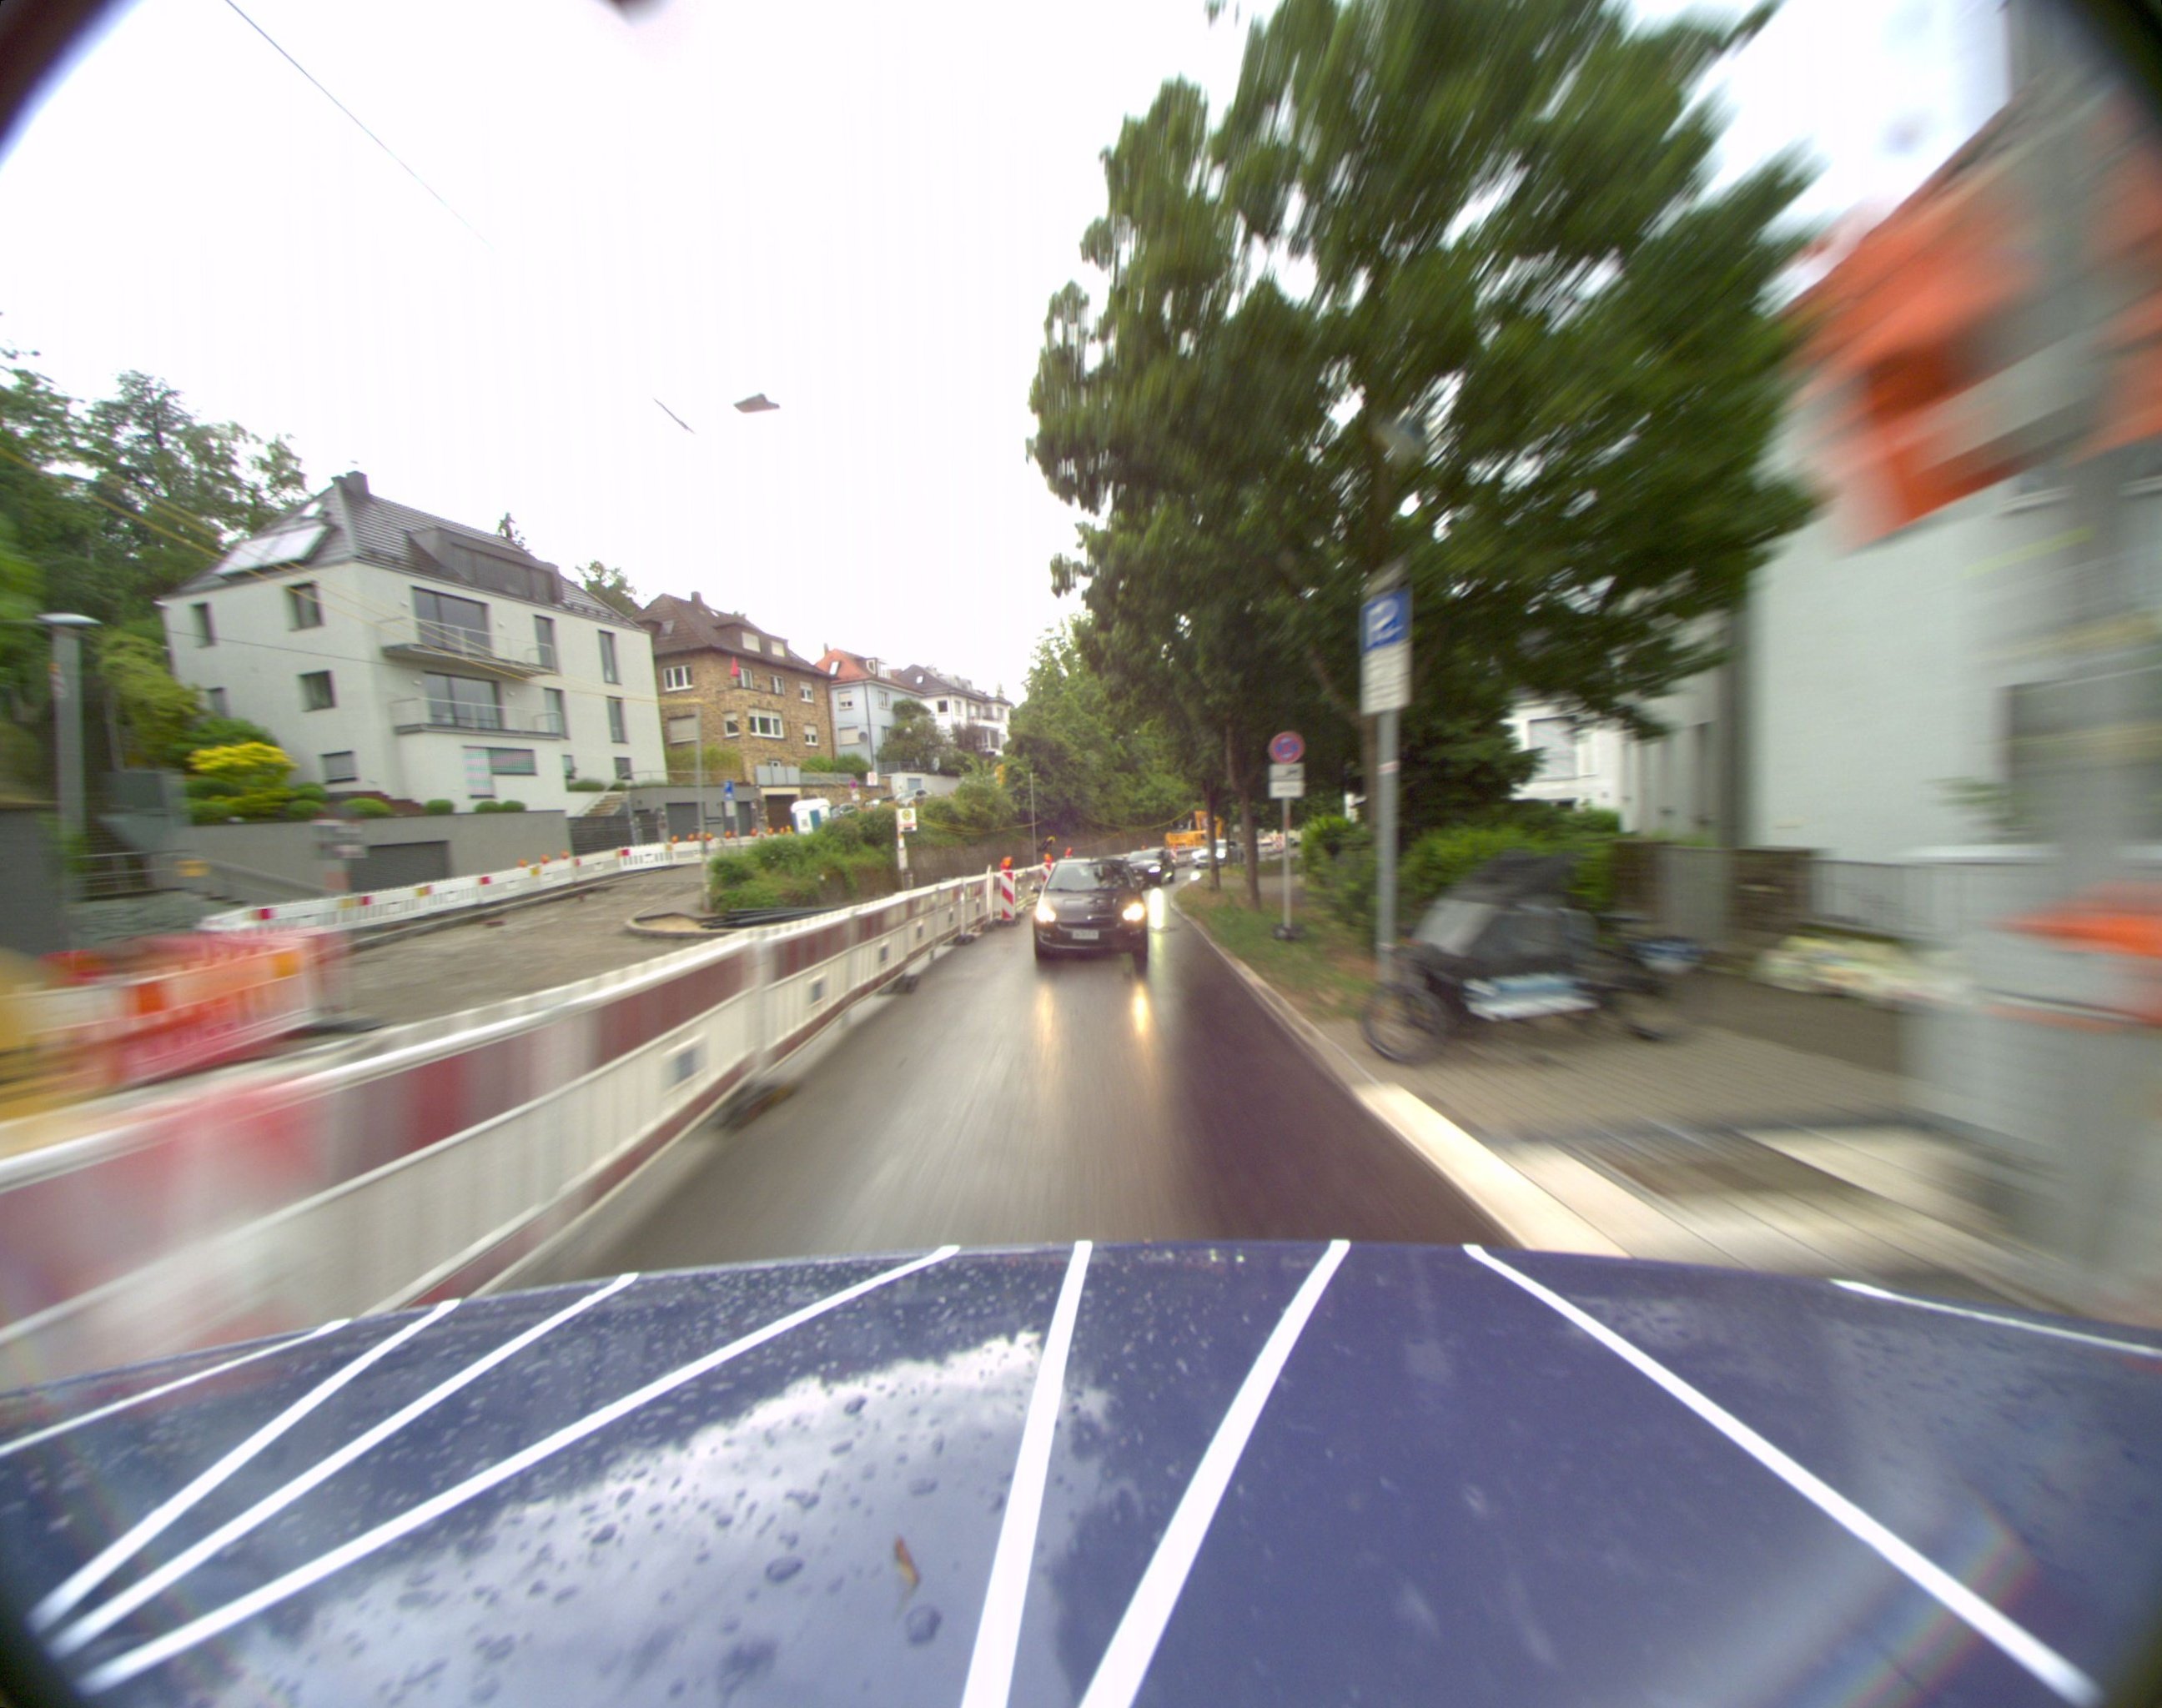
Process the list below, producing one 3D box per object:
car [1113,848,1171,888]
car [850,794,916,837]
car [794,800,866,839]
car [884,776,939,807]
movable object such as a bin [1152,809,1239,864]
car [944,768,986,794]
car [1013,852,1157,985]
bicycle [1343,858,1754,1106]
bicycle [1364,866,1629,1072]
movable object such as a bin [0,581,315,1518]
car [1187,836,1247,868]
[{"bbox_3d":[2.615,0.556,31.785,1.841,1.395,4.073,-2,2,12],"label":"car"},{"bbox_3d":[-12.332,-2.452,47.632,1.898,2.069,4.426,-2,10,15],"label":"car"},{"bbox_3d":[-13.960,-1.976,42.435,1.857,1.629,3.830,-2,10,15],"label":"car"},{"bbox_3d":[-11.439,-4.284,51.578,1.857,1.629,3.961,-2,10,15],"label":"car"},{"bbox_3d":[8.664,-1.374,56.596,3.323,3.818,7.216,-1,2,36],"label":"movable object such as a bin"},{"bbox_3d":[-9.477,-5.985,62.192,1.857,1.629,3.960,-2,11,15],"label":"car"},{"bbox_3d":[0.277,0.798,11.687,1.673,1.458,4.716,-2,1,6],"label":"car"},{"bbox_3d":[2.974,0.755,4.954,2.235,1.354,0.809,-2,2,-5],"label":"bicycle"},{"bbox_3d":[3.060,0.817,5.644,1.695,1.337,0.419,-4,0,-5],"label":"bicycle"},{"bbox_3d":[-4.366,0.708,0.274,2.091,2.823,5.674,-4,2,1],"label":"movable object such as a bin"},{"bbox_3d":[8.232,-0.140,45.758,1.996,1.699,4.581,-2,2,31],"label":"car"}]
